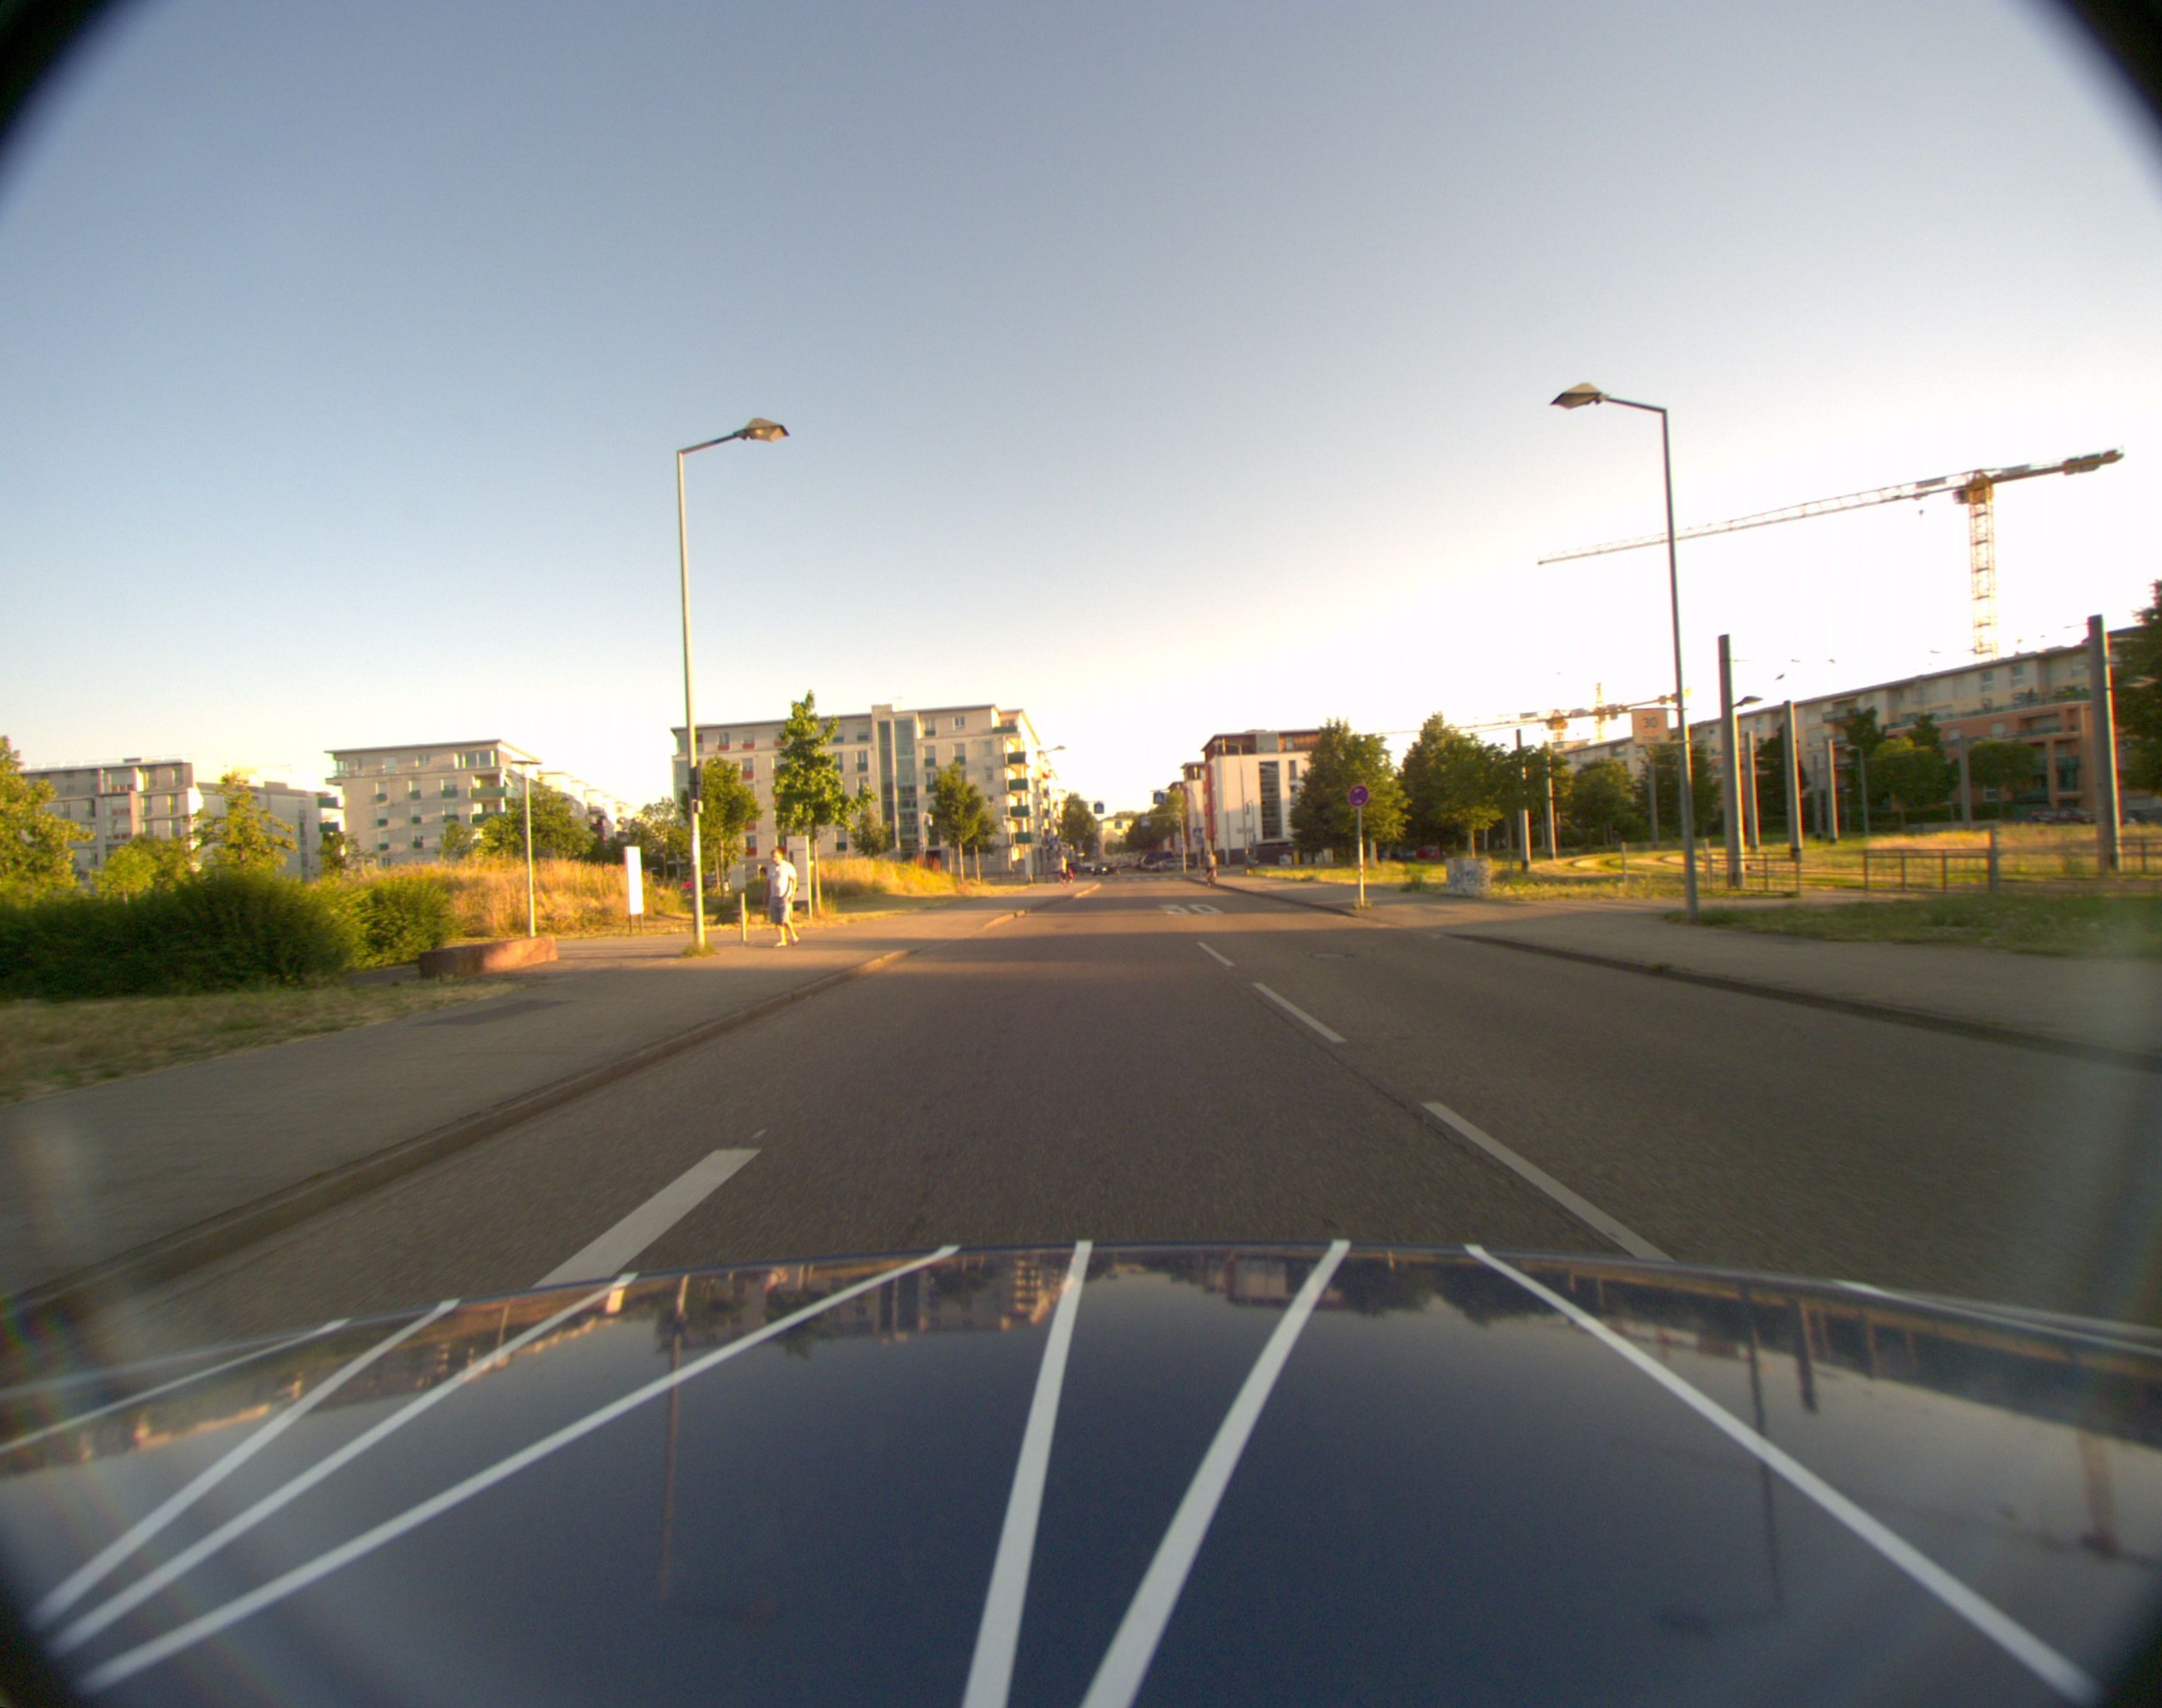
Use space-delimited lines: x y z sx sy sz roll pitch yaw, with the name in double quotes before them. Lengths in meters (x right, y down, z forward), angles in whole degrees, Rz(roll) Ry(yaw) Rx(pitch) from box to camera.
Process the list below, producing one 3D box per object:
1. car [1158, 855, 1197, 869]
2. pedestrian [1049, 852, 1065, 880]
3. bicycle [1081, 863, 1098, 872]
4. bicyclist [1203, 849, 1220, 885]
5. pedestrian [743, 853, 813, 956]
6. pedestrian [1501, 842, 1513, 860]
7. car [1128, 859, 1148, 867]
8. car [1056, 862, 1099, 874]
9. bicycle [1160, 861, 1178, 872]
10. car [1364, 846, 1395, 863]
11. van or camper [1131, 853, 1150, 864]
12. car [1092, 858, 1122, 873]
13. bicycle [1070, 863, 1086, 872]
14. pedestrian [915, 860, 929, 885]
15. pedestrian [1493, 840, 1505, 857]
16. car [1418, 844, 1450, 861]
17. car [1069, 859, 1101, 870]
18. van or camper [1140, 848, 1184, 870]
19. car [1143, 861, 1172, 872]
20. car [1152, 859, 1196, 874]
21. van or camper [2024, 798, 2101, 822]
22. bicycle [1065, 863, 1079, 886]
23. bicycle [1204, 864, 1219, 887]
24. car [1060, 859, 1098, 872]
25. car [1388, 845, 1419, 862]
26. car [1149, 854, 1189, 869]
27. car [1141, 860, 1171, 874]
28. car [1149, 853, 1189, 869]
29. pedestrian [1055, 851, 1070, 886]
"car" 11.282 0.956 89.043 4.291 1.449 1.681 -2 -1 0
"pedestrian" -1.537 0.760 48.518 0.801 1.719 0.768 -3 -1 9
"bicycle" 0.953 1.565 86.750 1.839 1.065 0.473 0 -1 -2
"bicyclist" 6.292 0.622 36.659 0.616 1.652 1.037 -3 -1 5
"pedestrian" -5.380 0.874 13.546 0.833 1.756 0.818 0 1 8
"pedestrian" 41.270 -0.317 73.649 0.744 1.657 0.623 -5 0 -30
"car" 12.386 1.926 164.154 4.250 1.629 1.693 0 -1 3
"car" -0.358 1.645 89.299 4.885 1.449 1.939 0 -1 4
"bicycle" 10.025 1.467 86.385 1.821 1.060 0.567 -6 -1 -1
"car" 28.427 0.036 72.459 1.689 1.513 3.411 -3 0 4
"van or camper" 13.363 1.040 171.873 4.250 2.520 1.761 0 -1 3
"car" 2.693 1.195 78.488 1.774 1.454 4.186 -1 -1 22
"bicycle" -0.371 1.540 86.048 1.792 1.035 0.567 0 -1 -2
"pedestrian" -11.640 1.341 55.566 0.733 1.773 0.802 -3 -1 3
"pedestrian" 40.807 -0.554 74.241 0.714 1.590 0.655 -5 0 -31
"car" 33.185 -0.148 71.473 1.593 1.491 3.411 -3 0 4
"car" 0.530 1.408 102.260 4.294 1.499 1.686 0 -1 -1
"van or camper" 12.743 0.838 119.890 6.314 3.068 2.442 -4 -1 -3
"car" 11.391 1.895 113.532 4.102 1.615 1.724 0 -1 -2
"car" 11.201 1.509 91.756 4.915 1.469 1.711 -5 -1 0
"van or camper" 86.457 -3.843 67.009 1.833 1.684 3.881 -3 -1 3
"bicycle" -0.471 1.082 40.044 0.451 1.161 1.942 -3 -1 7
"bicycle" 6.266 1.038 36.567 0.539 1.036 1.926 -3 -1 5
"car" -0.212 1.385 92.119 4.410 1.499 1.743 0 -1 5
"car" 30.548 -0.089 72.069 1.593 1.491 3.411 -3 0 4
"car" 10.869 0.937 94.429 4.783 1.545 1.712 -5 -1 6
"car" 10.746 1.858 108.964 4.102 1.616 1.724 -4 -1 -2
"car" 11.251 0.930 97.327 4.759 1.575 1.759 -5 -1 -2
"pedestrian" -0.976 0.779 40.198 0.595 1.791 0.818 -3 -1 8
